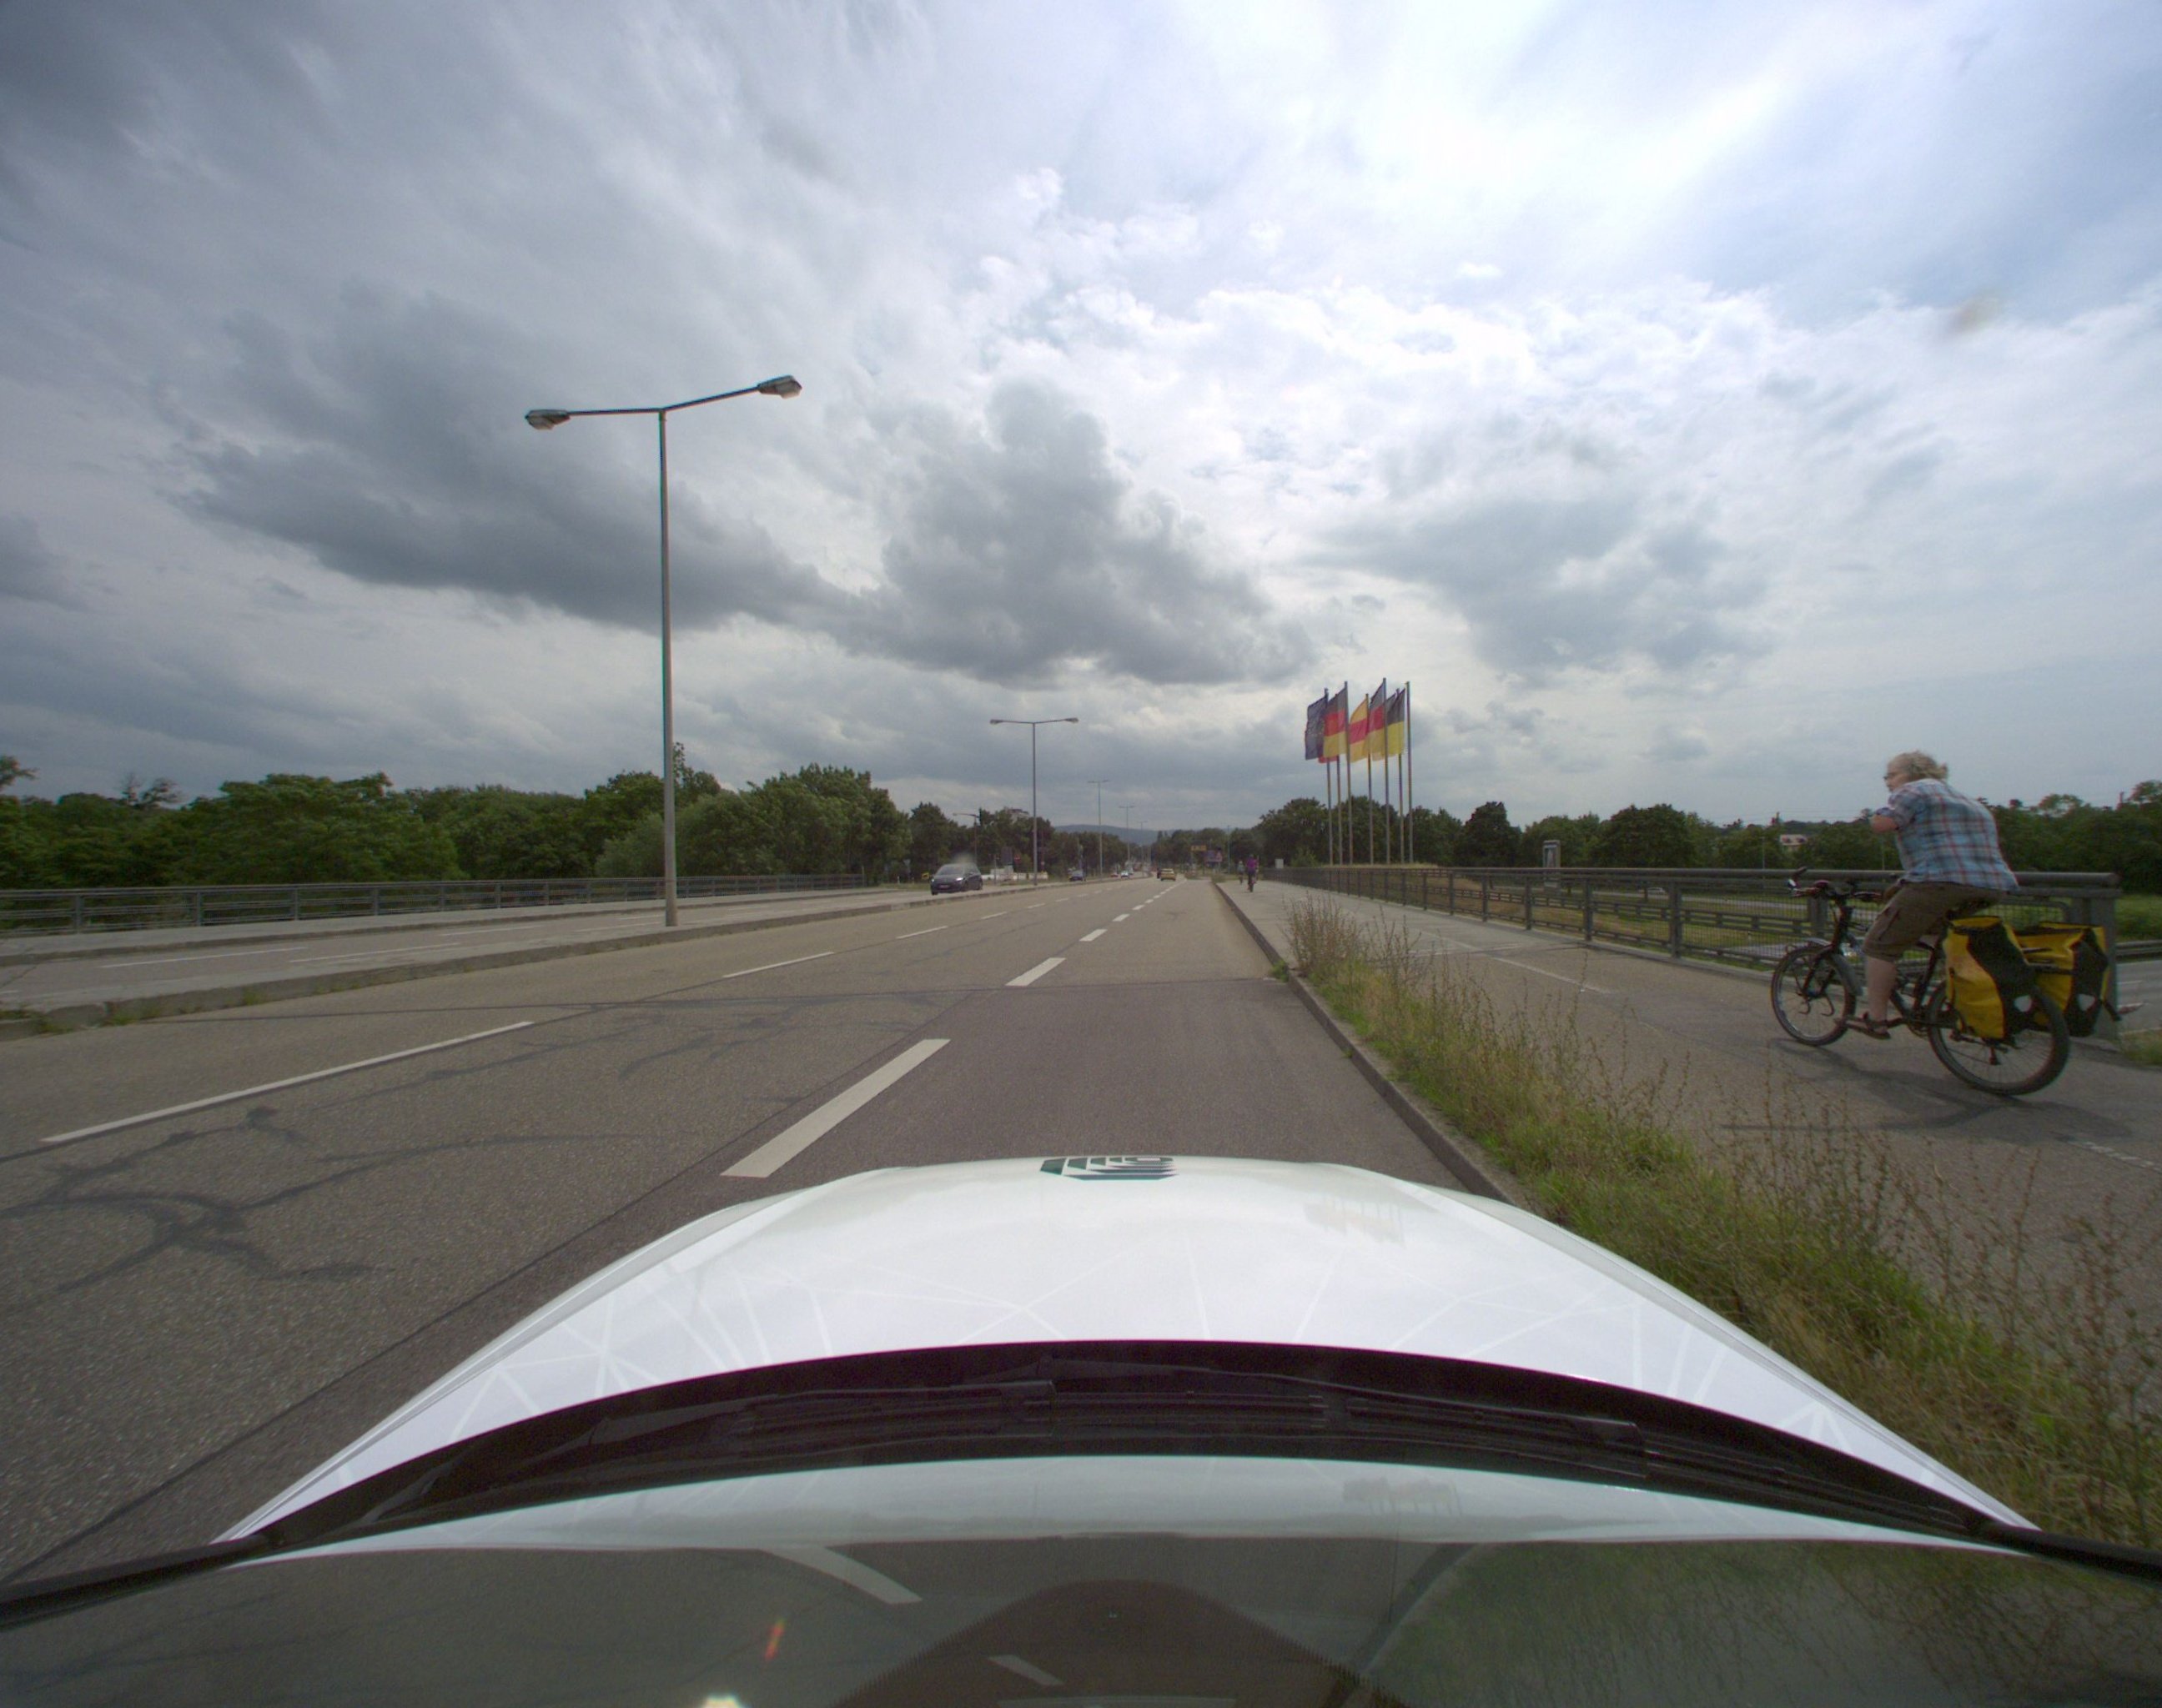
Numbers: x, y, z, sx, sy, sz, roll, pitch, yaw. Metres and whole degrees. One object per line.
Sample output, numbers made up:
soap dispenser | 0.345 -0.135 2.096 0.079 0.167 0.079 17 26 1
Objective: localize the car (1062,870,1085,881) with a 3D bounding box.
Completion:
car | -0.966 2.819 108.592 1.980 1.374 4.591 -2 -2 12

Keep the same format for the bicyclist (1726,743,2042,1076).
bicyclist | 4.876 0.316 5.043 0.867 1.801 0.957 -5 -1 1

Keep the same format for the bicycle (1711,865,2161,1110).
bicycle | 4.903 0.671 4.903 0.809 1.140 1.764 -4 -1 2

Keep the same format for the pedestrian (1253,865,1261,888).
pedestrian | 15.986 2.037 74.093 0.623 2.014 0.669 -1 -1 8

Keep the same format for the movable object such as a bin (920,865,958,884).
movable object such as a bin | -18.281 2.611 105.083 4.567 2.397 1.998 0 -1 -3

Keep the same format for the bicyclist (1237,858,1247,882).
bicyclist | 11.466 1.140 57.912 0.618 1.666 0.670 0 -1 6

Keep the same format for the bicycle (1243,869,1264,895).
bicycle | 8.306 1.348 39.288 0.690 1.192 2.465 -1 -1 6

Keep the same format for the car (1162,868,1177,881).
car | 10.982 2.520 101.030 1.784 1.562 4.006 0 -1 5

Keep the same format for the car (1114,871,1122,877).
car | 10.029 5.405 218.744 1.986 1.693 4.001 2 -2 2

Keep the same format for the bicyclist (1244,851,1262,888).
bicyclist | 8.301 0.754 39.319 0.699 1.755 0.993 -1 -1 6

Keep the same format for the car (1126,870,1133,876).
car | 15.388 6.014 257.159 1.892 1.809 4.548 0 -1 7

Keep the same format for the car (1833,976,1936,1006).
car | 44.145 7.520 44.776 3.981 1.237 1.996 2 -1 -6

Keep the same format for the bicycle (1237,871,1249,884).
bicycle | 11.415 1.643 57.515 0.620 0.888 2.158 0 -1 6

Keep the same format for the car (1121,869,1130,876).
car | 10.801 4.590 198.133 1.685 1.629 4.394 0 -1 8

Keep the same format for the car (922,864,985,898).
car | -6.595 1.377 42.624 1.983 1.640 4.671 0 -1 7

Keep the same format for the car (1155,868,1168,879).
car | 13.852 3.359 140.145 1.986 1.915 4.001 0 -1 2

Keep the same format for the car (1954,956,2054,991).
car | 52.735 6.796 46.541 3.988 1.585 1.993 -1 -2 -10
